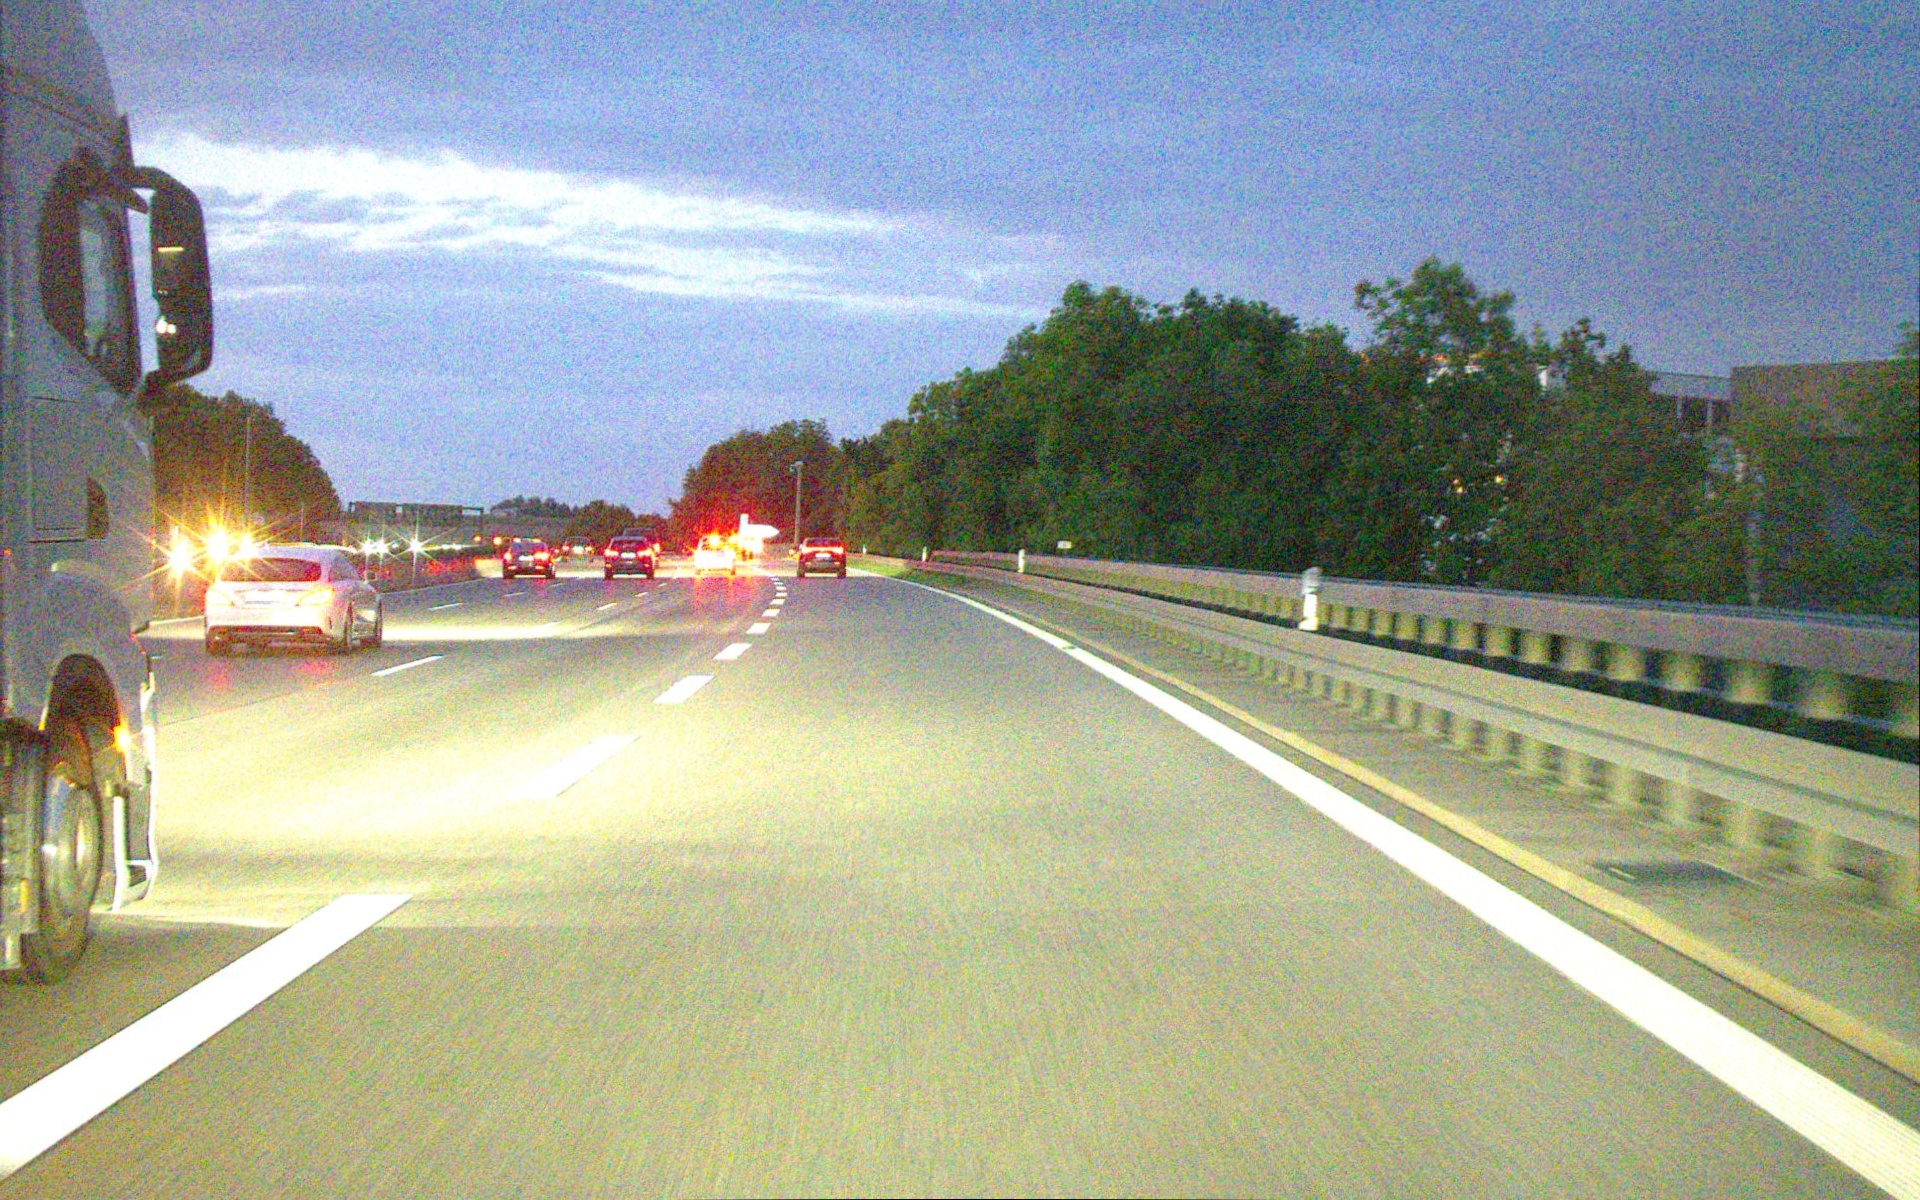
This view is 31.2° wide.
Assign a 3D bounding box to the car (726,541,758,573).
[{"bbox_3d":[-15.334,-3.040,242.253,1.993,2.007,4.000,2,-2,-1],"label":"car"}]

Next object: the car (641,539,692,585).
[{"bbox_3d":[-14.378,-1.850,168.685,1.994,2.007,3.999,2,-2,2],"label":"car"}]

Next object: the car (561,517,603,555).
[{"bbox_3d":[-22.032,-3.718,200.415,1.993,2.007,4.000,2,-2,0],"label":"car"}]

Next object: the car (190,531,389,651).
[{"bbox_3d":[-8.966,-0.137,46.274,1.899,1.489,4.151,2,0,-1],"label":"car"}]

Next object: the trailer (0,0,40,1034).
[{"bbox_3d":[-4.477,-0.616,3.156,3.550,4.102,15.065,0,1,-1],"label":"trailer"}]

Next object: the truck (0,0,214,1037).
[{"bbox_3d":[-4.636,-0.745,10.361,3.550,4.077,6.152,0,1,-1],"label":"truck"}]

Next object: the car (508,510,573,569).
[{"bbox_3d":[-15.971,-2.285,131.132,1.993,2.040,4.000,2,-2,-1],"label":"car"}]

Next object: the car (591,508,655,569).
[{"bbox_3d":[-12.626,-2.283,129.003,1.993,2.073,4.000,2,-2,-1],"label":"car"}]

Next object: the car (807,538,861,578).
[{"bbox_3d":[-4.917,-1.618,134.726,1.993,1.349,4.000,2,-2,-1],"label":"car"}]

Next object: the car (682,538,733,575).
[{"bbox_3d":[-10.629,-1.811,145.075,1.884,1.349,4.000,2,-2,-1],"label":"car"}]
